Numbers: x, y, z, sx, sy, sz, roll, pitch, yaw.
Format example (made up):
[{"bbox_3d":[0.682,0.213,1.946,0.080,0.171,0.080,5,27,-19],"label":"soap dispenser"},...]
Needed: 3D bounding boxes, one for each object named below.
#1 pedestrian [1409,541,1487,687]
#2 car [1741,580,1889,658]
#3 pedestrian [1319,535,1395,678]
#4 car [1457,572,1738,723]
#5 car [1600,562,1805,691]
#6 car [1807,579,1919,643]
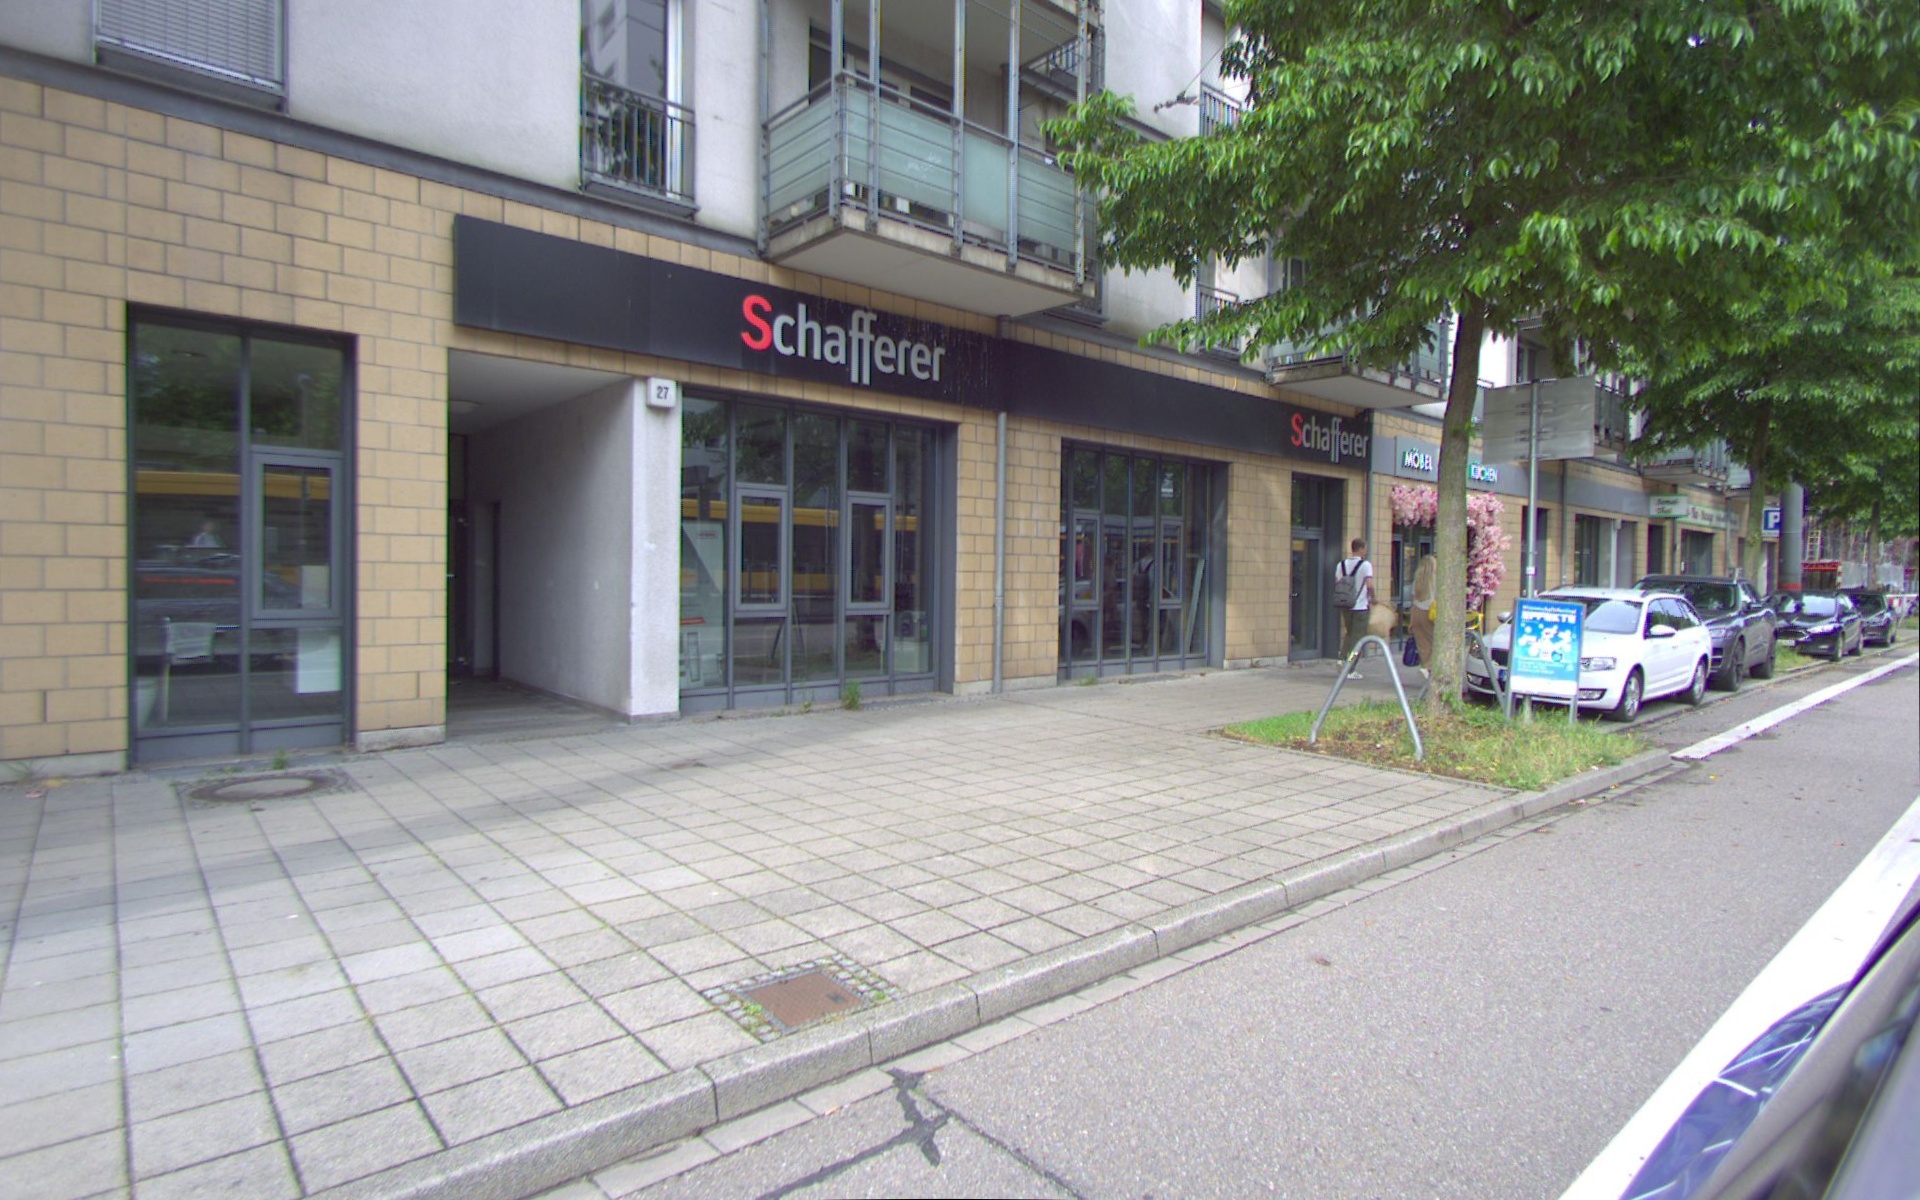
[{"bbox_3d":[6.306,0.160,13.077,0.724,1.828,0.617,0,2,-39],"label":"pedestrian"},{"bbox_3d":[18.706,0.330,22.079,4.329,1.459,1.681,-1,4,-40],"label":"car"},{"bbox_3d":[5.508,0.071,14.036,0.724,1.914,0.677,0,2,-39],"label":"pedestrian"},{"bbox_3d":[8.115,0.461,12.738,4.312,1.517,1.681,-1,4,-40],"label":"car"},{"bbox_3d":[12.062,0.307,16.313,4.632,1.737,1.715,-1,5,-42],"label":"car"},{"bbox_3d":[24.341,0.226,27.230,4.315,1.472,1.800,-1,5,-43],"label":"car"}]
